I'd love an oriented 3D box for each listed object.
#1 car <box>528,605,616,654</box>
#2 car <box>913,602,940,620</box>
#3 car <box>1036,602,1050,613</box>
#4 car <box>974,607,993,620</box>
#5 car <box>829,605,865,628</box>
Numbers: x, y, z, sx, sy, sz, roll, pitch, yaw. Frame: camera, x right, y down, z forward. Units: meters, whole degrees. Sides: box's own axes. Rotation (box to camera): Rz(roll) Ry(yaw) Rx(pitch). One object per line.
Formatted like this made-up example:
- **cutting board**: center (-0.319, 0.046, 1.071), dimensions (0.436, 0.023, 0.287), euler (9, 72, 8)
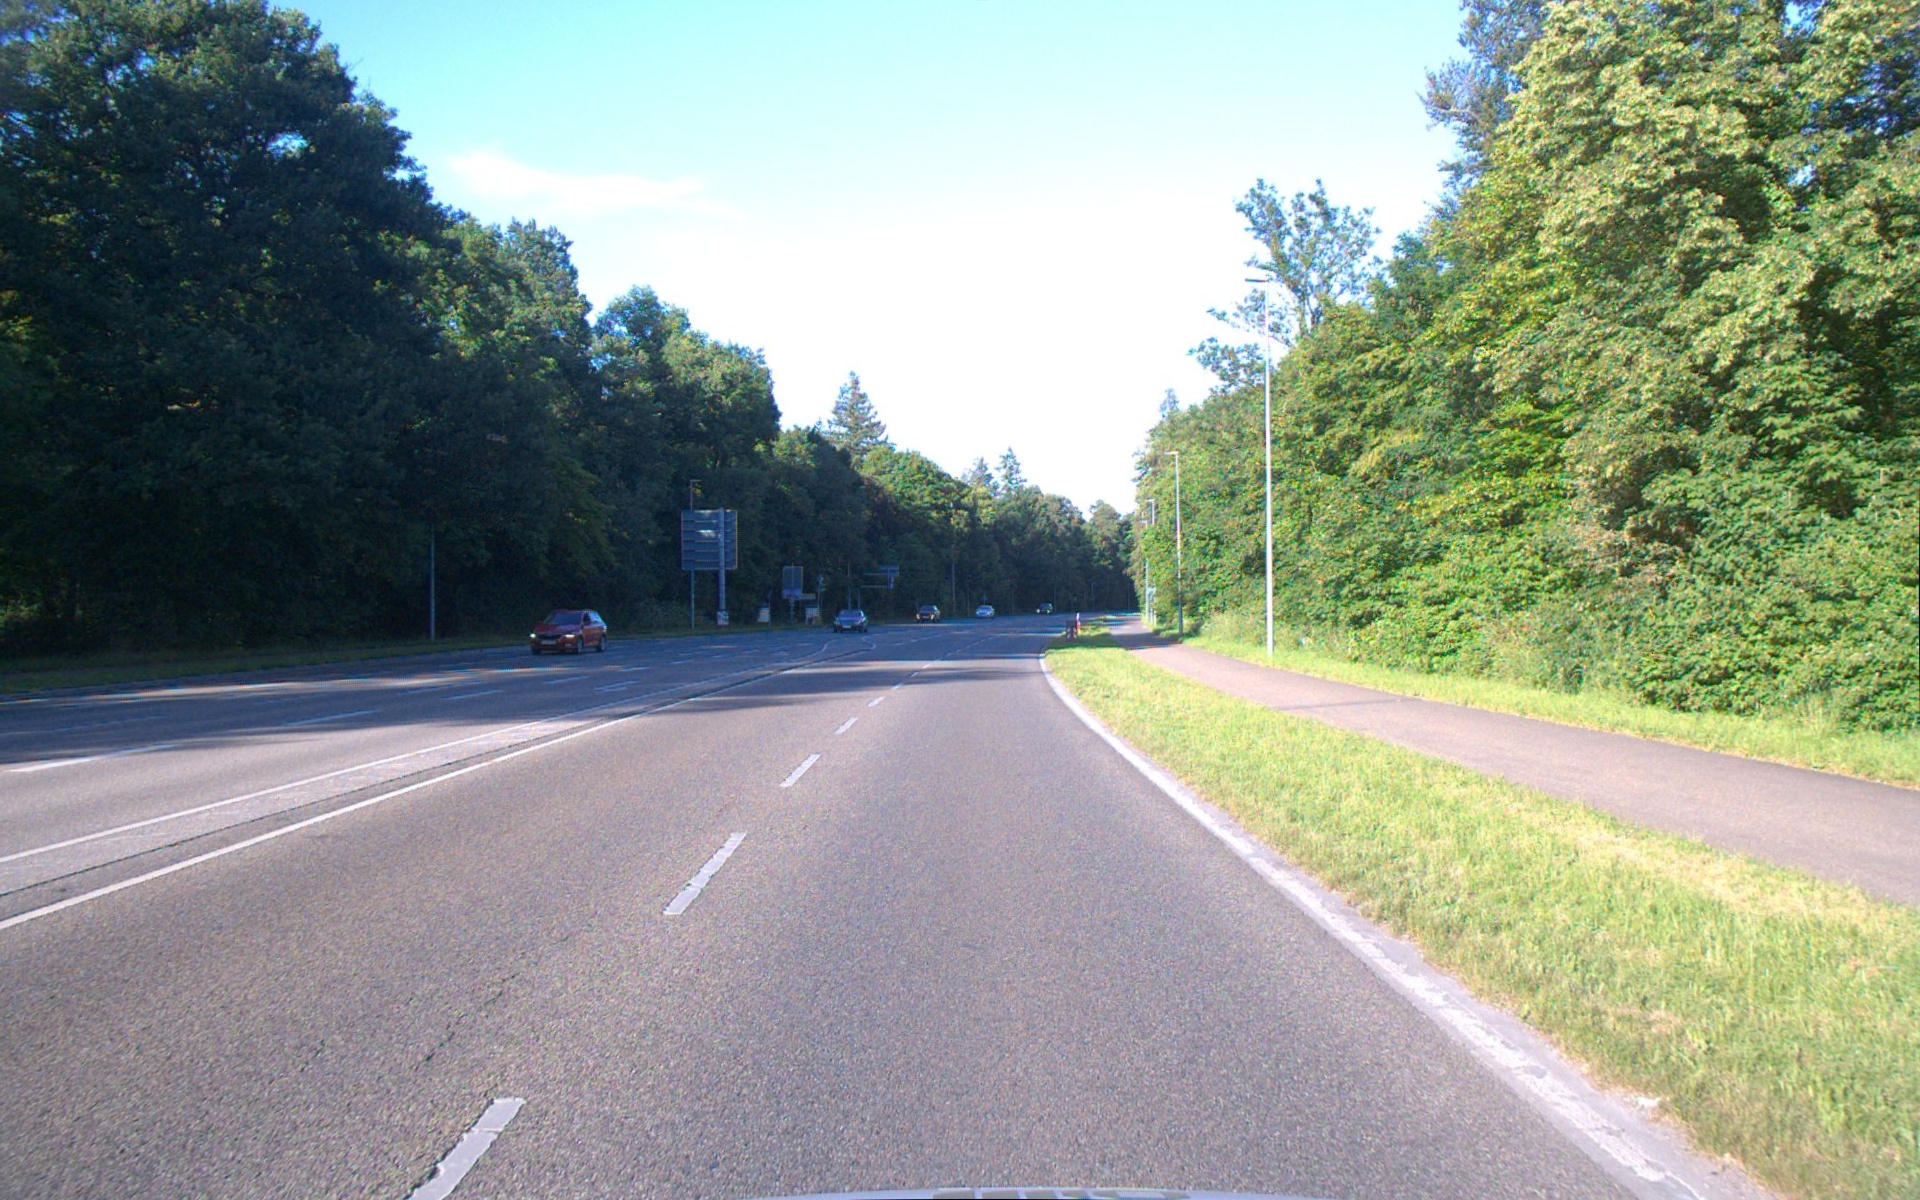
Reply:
- **car**: center (-13.369, 0.998, 57.227), dimensions (1.952, 1.591, 4.339), euler (-1, 0, 1)
- **car**: center (-3.044, 1.021, 150.726), dimensions (1.786, 1.572, 4.260), euler (0, 0, 8)
- **car**: center (12.292, 1.108, 244.232), dimensions (1.786, 1.617, 4.354), euler (0, 0, 6)
- **car**: center (2.764, 1.537, 191.190), dimensions (1.786, 1.530, 4.309), euler (0, 0, 6)
- **car**: center (-6.640, 0.967, 97.527), dimensions (1.708, 1.256, 4.674), euler (-1, 0, 1)
